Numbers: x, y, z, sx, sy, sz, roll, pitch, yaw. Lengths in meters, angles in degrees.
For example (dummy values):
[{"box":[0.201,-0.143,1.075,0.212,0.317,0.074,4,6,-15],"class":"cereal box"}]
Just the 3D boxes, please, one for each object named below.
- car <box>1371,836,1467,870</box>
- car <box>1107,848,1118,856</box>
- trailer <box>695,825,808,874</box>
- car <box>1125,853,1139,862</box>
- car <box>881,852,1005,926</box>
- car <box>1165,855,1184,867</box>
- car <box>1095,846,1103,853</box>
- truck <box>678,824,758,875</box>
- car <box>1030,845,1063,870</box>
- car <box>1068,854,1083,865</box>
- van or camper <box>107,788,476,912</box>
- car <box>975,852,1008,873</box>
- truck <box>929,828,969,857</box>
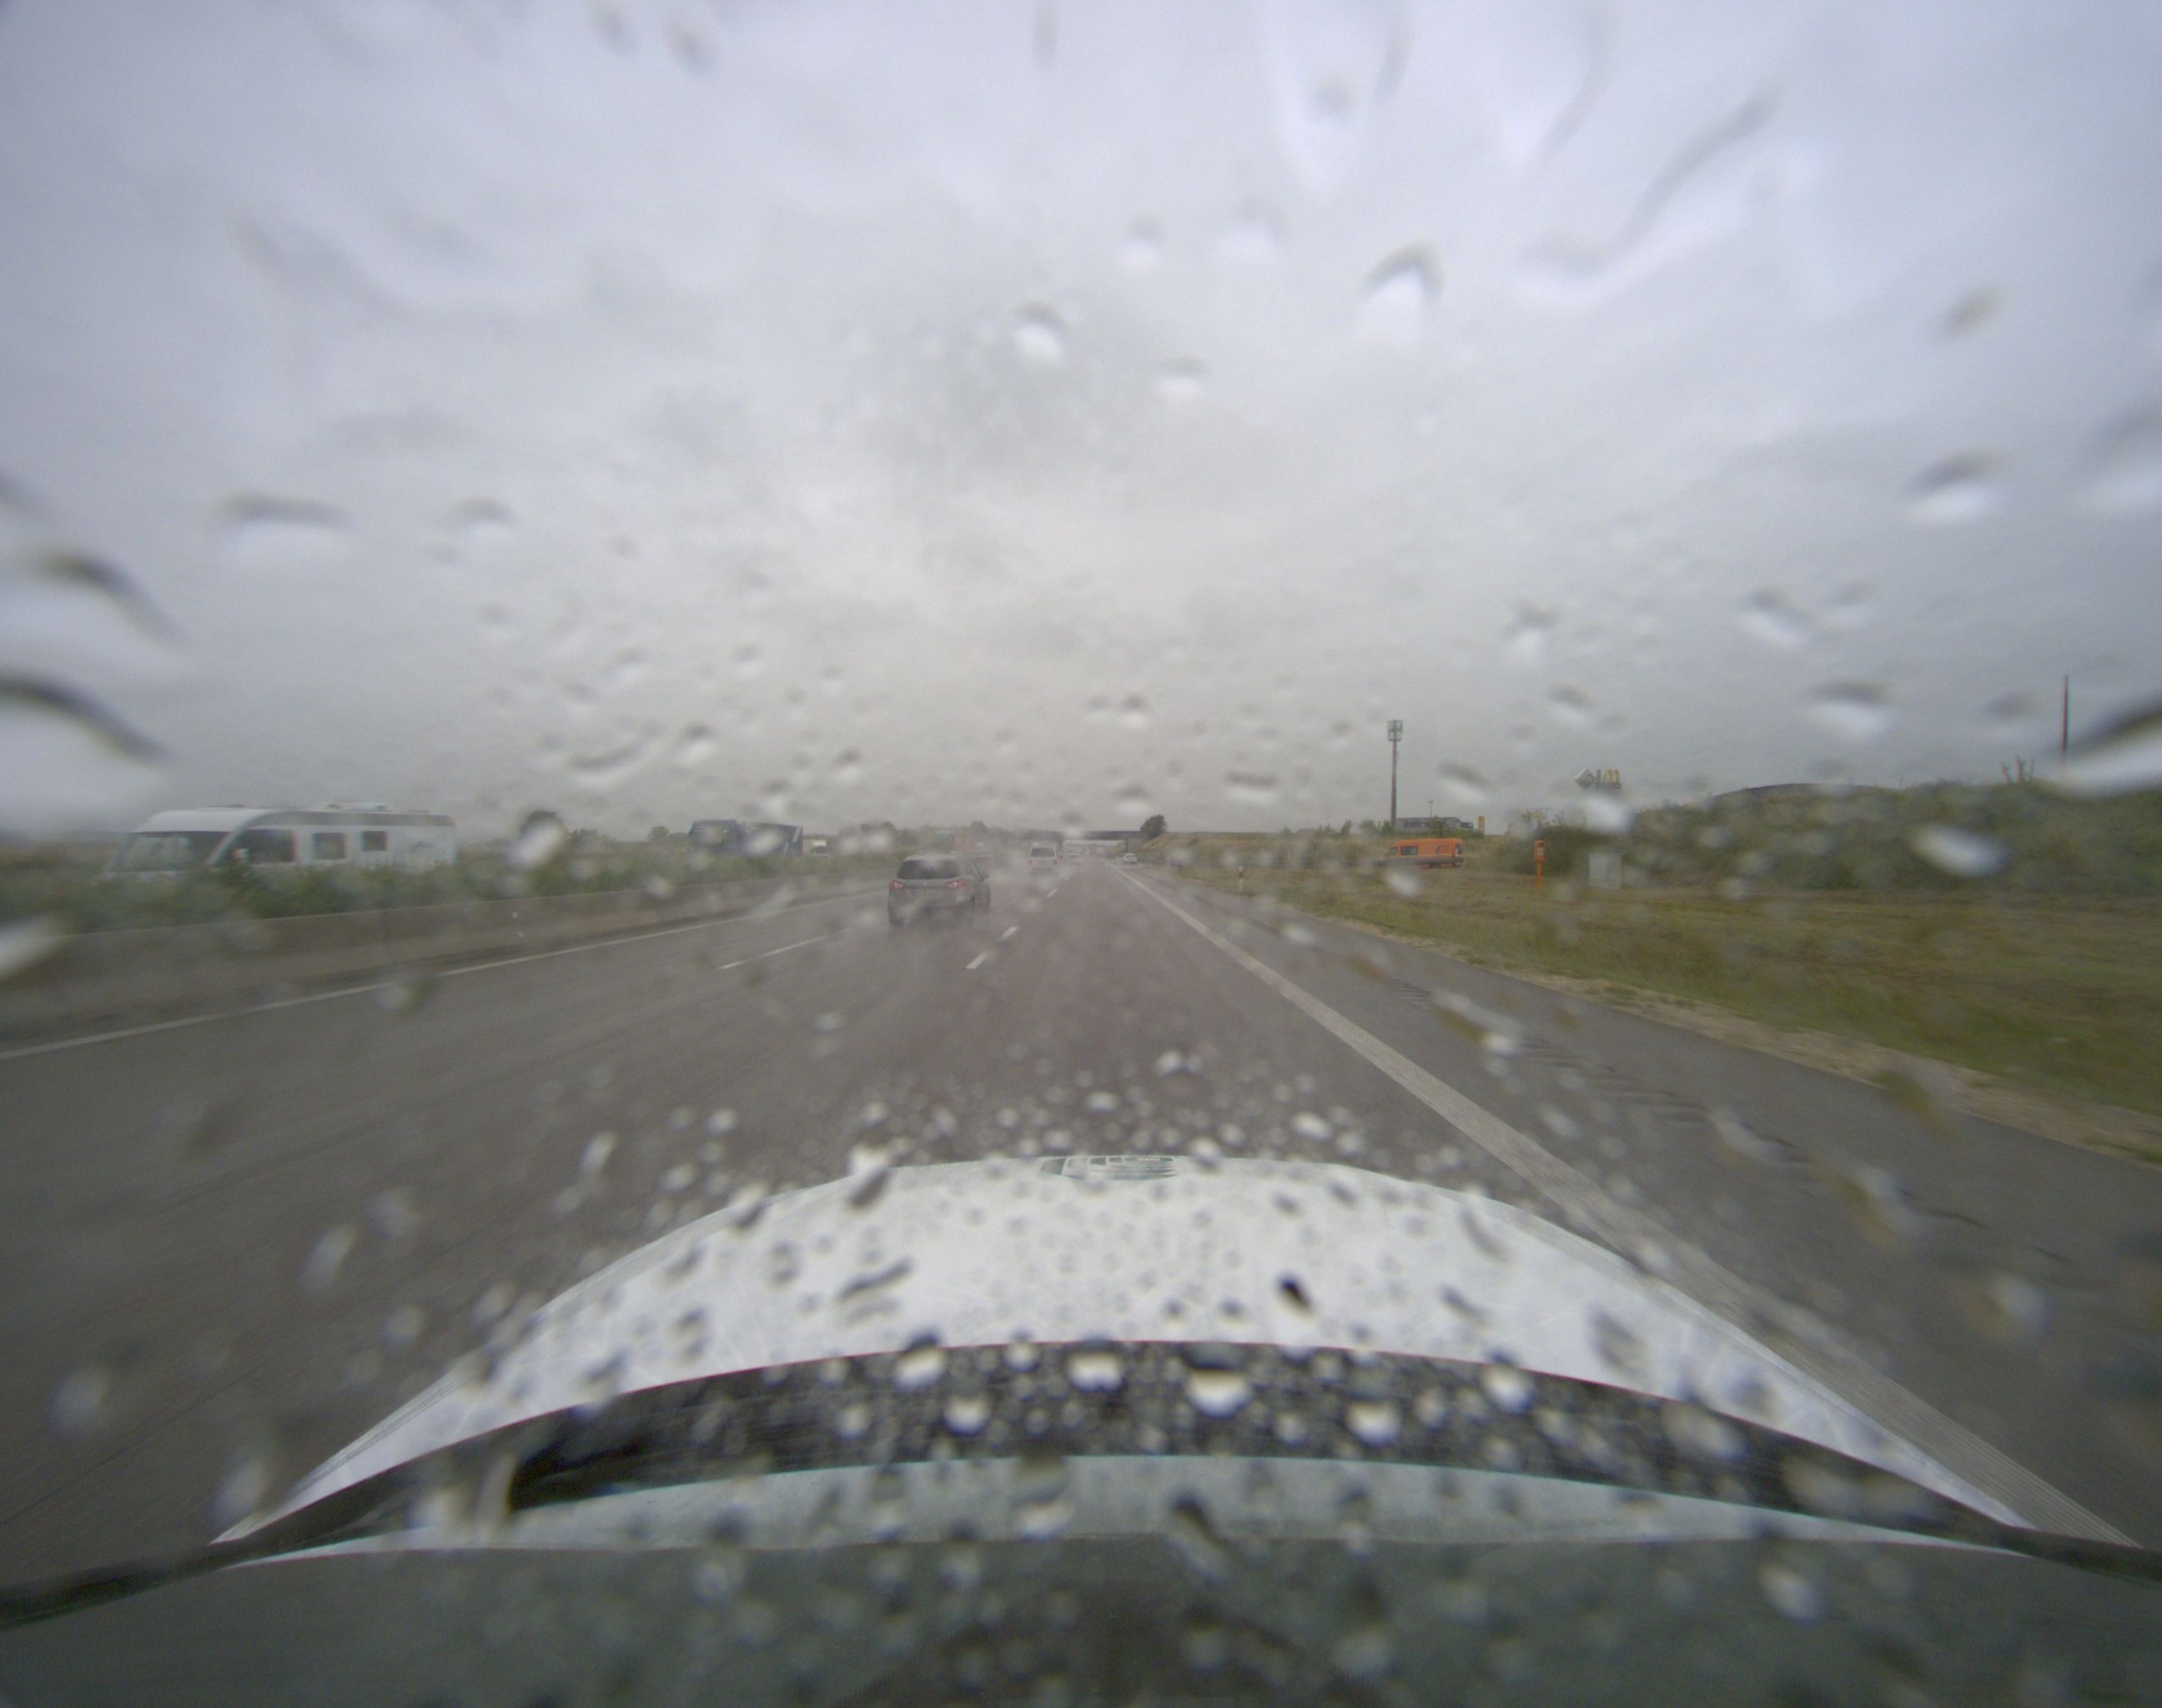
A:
[{"box":[27.168,-0.148,65.598,6.799,2.615,2.080,1,0,42],"class":"car"},{"box":[6.376,-0.360,165.402,1.796,1.508,3.997,0,0,-2],"class":"car"},{"box":[-25.713,-0.326,64.783,3.104,3.418,14.234,-1,0,0],"class":"trailer"},{"box":[7.286,0.520,116.335,1.985,1.266,4.003,0,0,3],"class":"car"},{"box":[-3.080,0.720,19.203,1.838,1.513,4.760,-1,0,3],"class":"car"},{"box":[10.864,0.795,94.862,1.727,1.421,3.655,0,0,-2],"class":"car"},{"box":[4.946,-1.254,222.991,1.988,2.101,3.997,0,0,-2],"class":"car"},{"box":[-25.752,-0.325,58.115,3.089,3.421,5.684,-1,0,0],"class":"truck"},{"box":[-2.192,0.229,52.601,1.891,1.585,4.000,0,0,1],"class":"car"},{"box":[-0.588,0.618,88.701,1.462,1.208,2.992,-1,-1,2],"class":"car"},{"box":[-18.448,-0.103,19.820,2.366,2.508,6.756,0,0,0],"class":"van or camper"},{"box":[-5.834,0.555,53.247,1.607,1.354,4.001,0,0,1],"class":"car"},{"box":[-16.709,-1.359,103.727,3.254,3.441,10.131,-1,0,1],"class":"truck"}]
